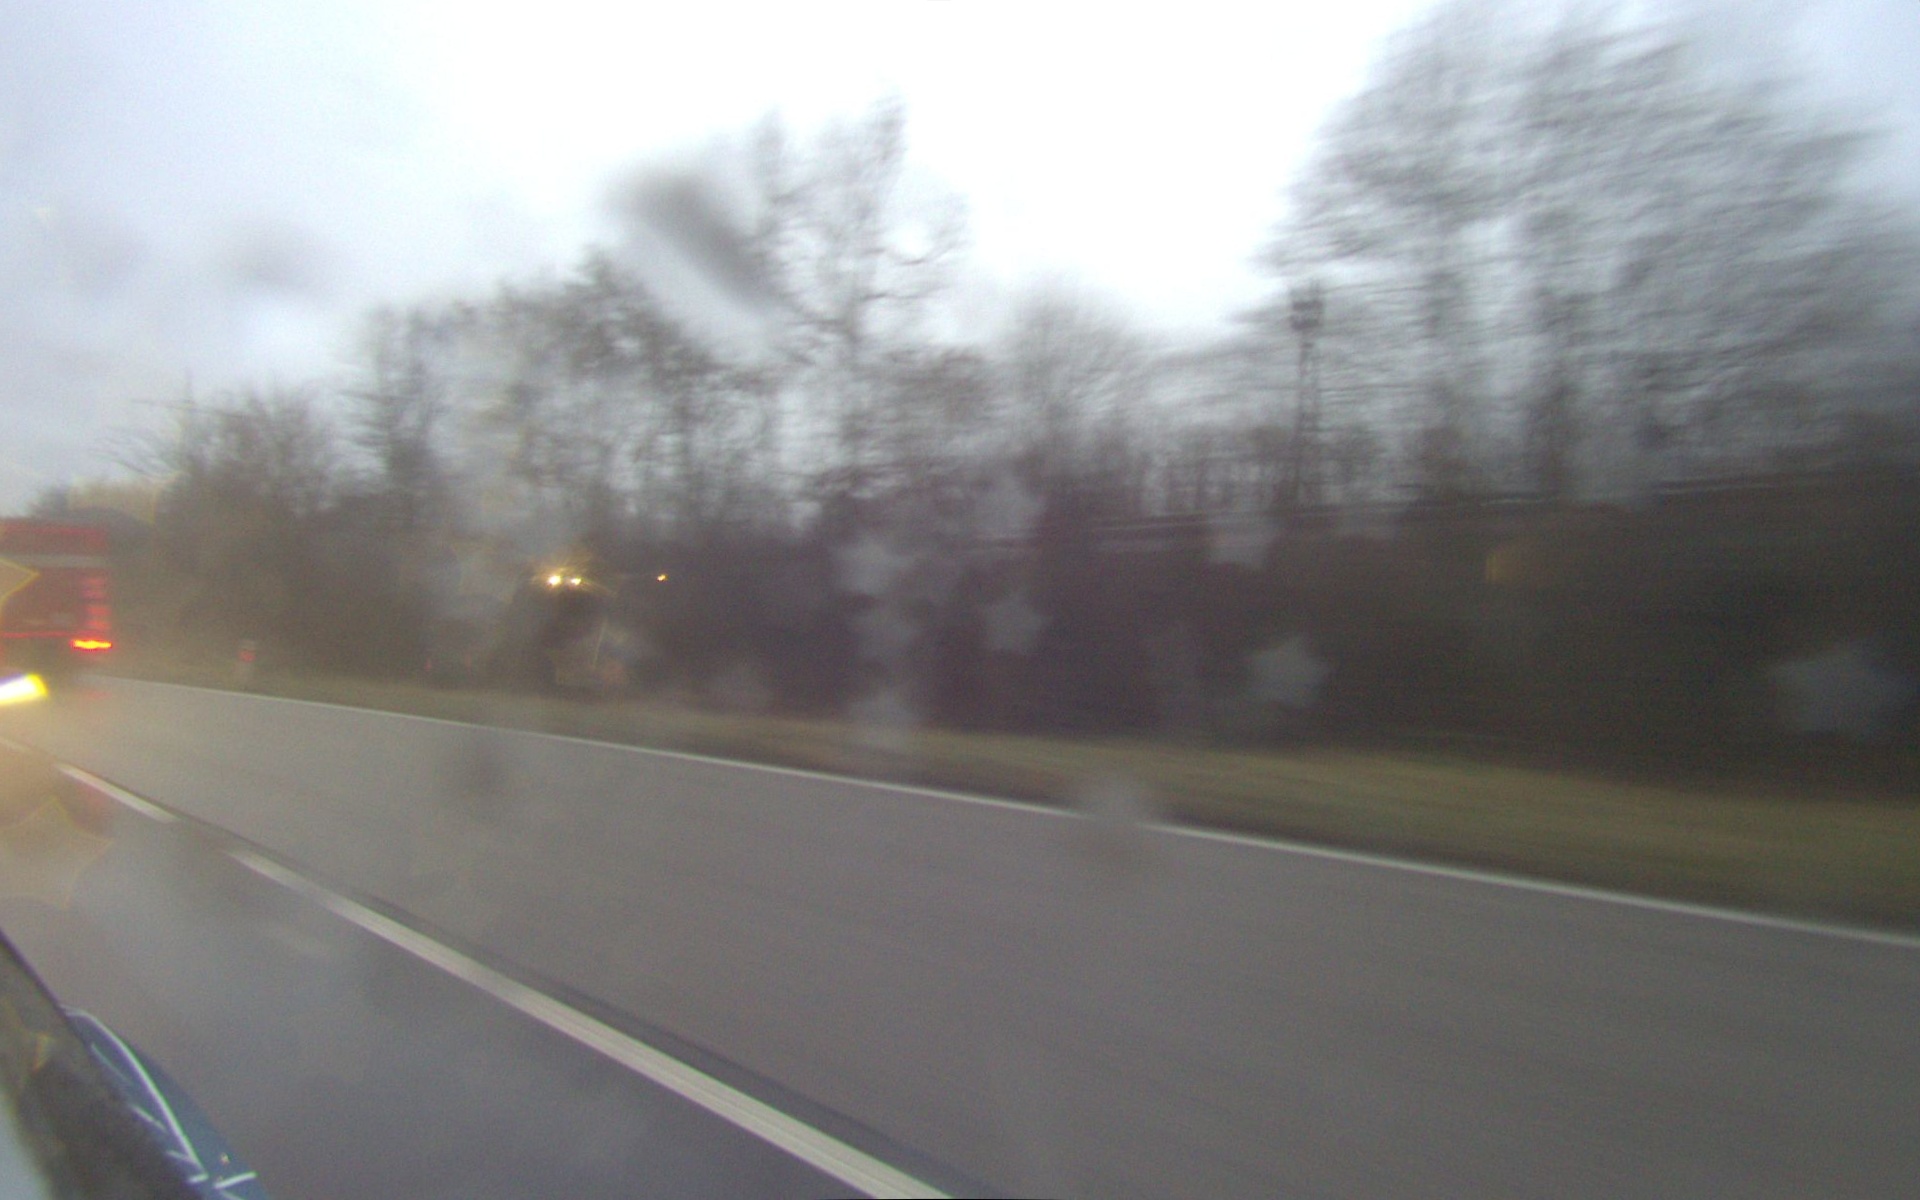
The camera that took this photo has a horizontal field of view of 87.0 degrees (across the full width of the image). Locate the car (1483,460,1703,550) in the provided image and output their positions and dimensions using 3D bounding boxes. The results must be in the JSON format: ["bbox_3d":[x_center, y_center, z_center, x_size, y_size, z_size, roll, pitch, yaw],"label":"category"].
[{"bbox_3d":[13.955,-2.013,22.400,3.938,1.646,1.768,-1,1,39],"label":"car"}]

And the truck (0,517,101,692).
[{"bbox_3d":[-23.446,0.145,24.302,9.833,3.623,2.622,-1,0,40],"label":"truck"}]
